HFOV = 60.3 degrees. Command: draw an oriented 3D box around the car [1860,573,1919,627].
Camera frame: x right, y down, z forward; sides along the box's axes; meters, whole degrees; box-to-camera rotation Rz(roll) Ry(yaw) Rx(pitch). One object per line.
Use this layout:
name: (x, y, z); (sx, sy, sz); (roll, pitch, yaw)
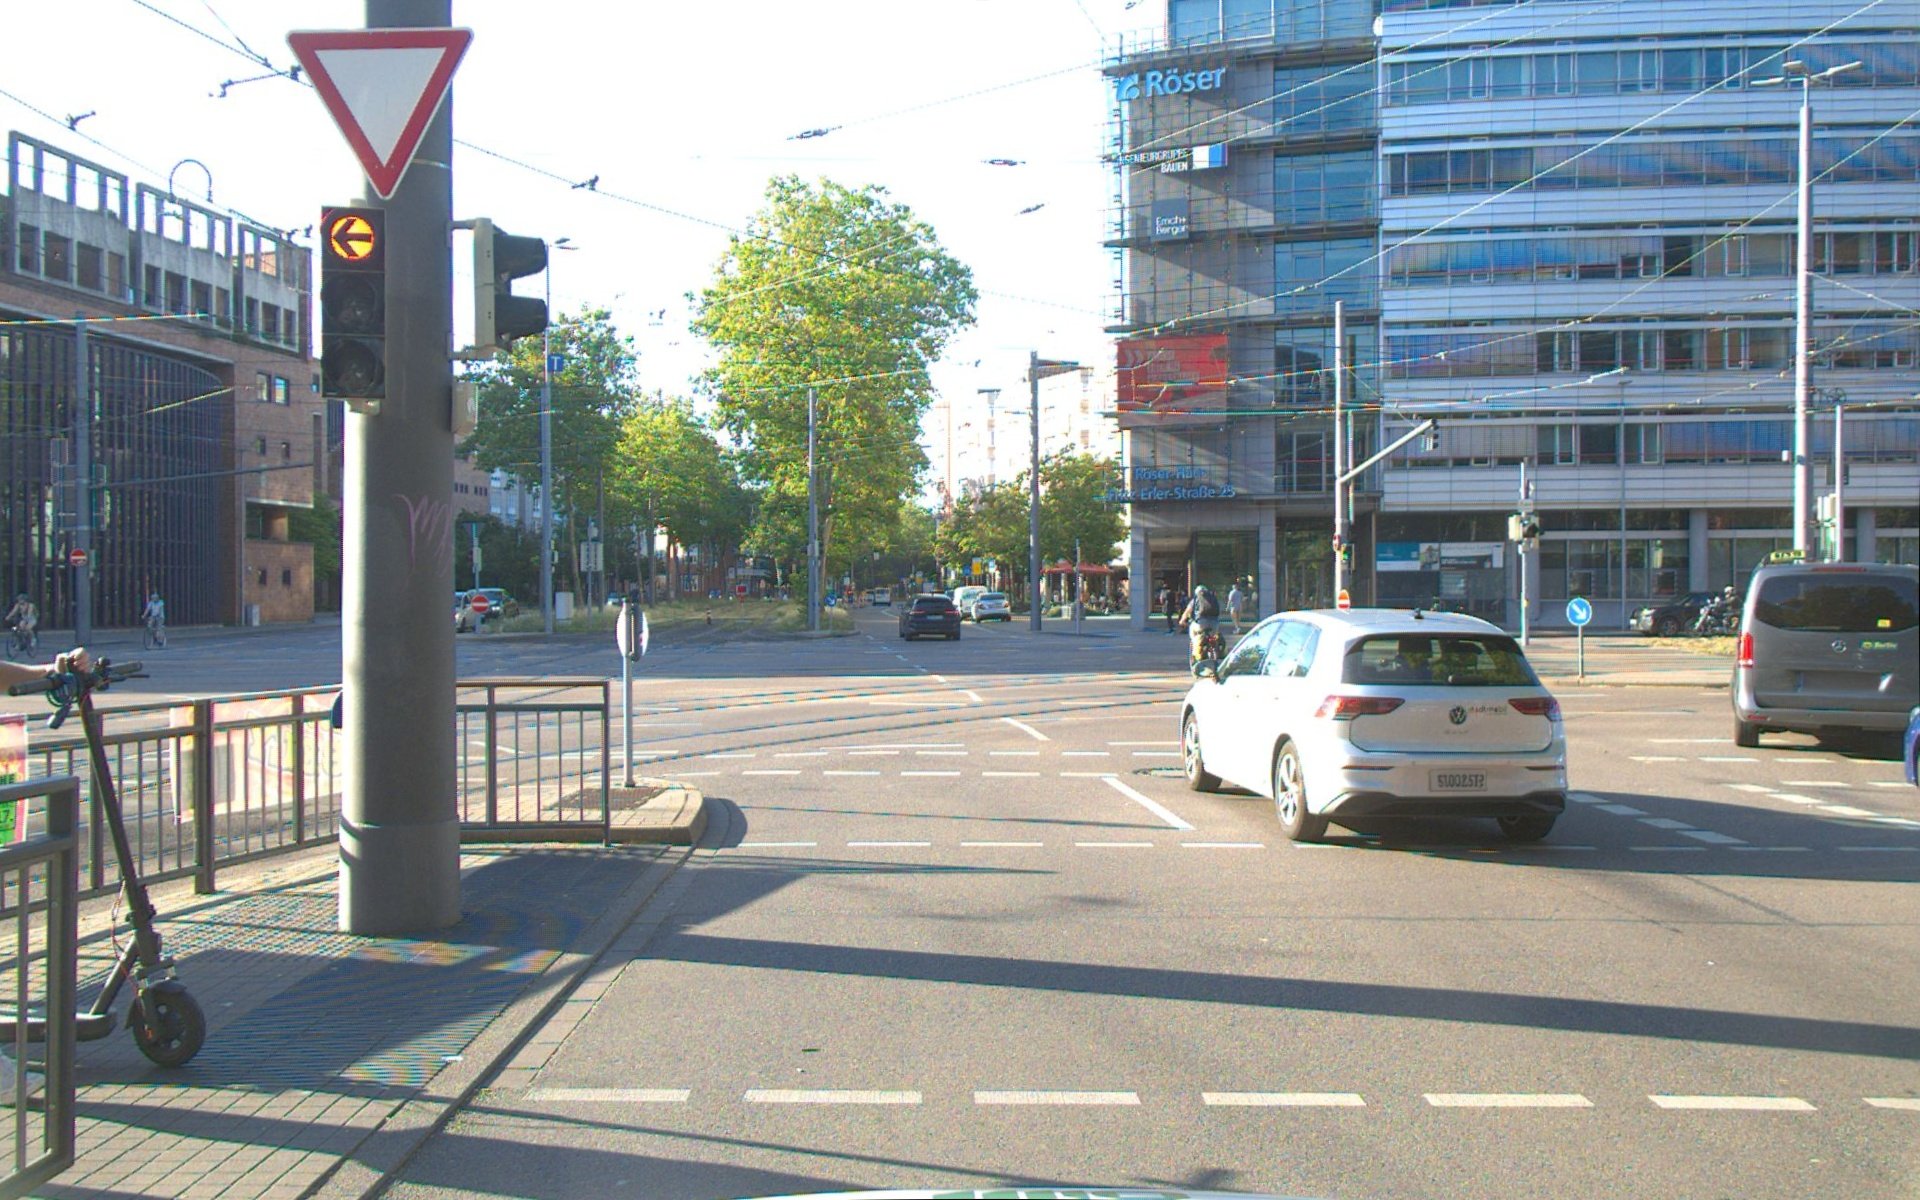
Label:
car: (29.435, 0.022, 49.596); (3.903, 1.579, 1.798); (1, 0, 4)

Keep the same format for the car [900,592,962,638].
car: (-0.964, 0.455, 53.219); (1.729, 1.429, 4.292); (0, 0, -5)

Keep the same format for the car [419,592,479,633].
car: (-20.634, 0.480, 66.933); (1.591, 1.604, 3.994); (-1, 0, -7)

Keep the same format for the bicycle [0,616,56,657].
bicycle: (-25.300, 0.984, 44.844); (0.639, 1.068, 2.010); (0, 0, -6)

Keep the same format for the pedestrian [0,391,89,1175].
pedestrian: (-2.930, 0.454, 4.009); (1.143, 1.917, 0.854); (-1, 0, 4)

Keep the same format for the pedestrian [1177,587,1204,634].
pedestrian: (8.610, 0.377, 61.764); (0.852, 1.737, 0.793); (1, -1, -1)

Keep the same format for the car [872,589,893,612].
car: (-8.137, 0.031, 174.022); (1.952, 2.049, 3.999); (1, -5, 0)

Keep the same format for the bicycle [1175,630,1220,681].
bicycle: (4.092, 0.944, 28.563); (0.481, 0.802, 1.861); (1, 0, -1)

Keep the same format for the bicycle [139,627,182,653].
bicycle: (-25.615, 1.274, 53.013); (0.578, 0.784, 1.966); (-1, 0, -5)

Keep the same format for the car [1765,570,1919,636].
car: (24.896, 0.066, 45.942); (4.165, 1.753, 1.885); (-1, 0, 2)

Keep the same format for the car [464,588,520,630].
car: (-21.007, 0.393, 74.383); (1.787, 1.821, 3.994); (-1, 0, -7)

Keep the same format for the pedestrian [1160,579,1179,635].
pedestrian: (7.658, 0.252, 60.364); (0.574, 2.049, 0.620); (1, -1, 0)

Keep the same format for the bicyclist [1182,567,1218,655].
bicyclist: (4.105, 0.182, 28.316); (0.477, 1.464, 0.615); (2, 1, -1)

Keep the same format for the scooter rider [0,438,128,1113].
scooter rider: (-2.942, 0.498, 4.922); (0.554, 1.885, 0.680); (-1, -2, 4)

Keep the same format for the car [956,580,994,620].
car: (0.802, 0.005, 89.578); (1.953, 2.049, 3.999); (1, 0, -1)

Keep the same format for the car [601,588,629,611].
car: (-25.481, -0.057, 122.229); (1.644, 1.635, 3.994); (1, 0, -7)

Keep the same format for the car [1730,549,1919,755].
car: (9.491, 0.465, 17.990); (1.961, 1.929, 4.878); (0, 1, 26)

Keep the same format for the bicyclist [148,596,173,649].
bicyclist: (-25.616, 0.715, 52.992); (0.575, 1.654, 0.514); (-1, 0, -6)

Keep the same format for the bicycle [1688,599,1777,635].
bicycle: (23.233, 0.500, 49.749); (2.359, 1.040, 0.637); (-1, 0, 4)

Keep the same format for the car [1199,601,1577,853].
car: (2.807, 0.749, 11.734); (1.712, 1.443, 4.001); (0, 0, 1)

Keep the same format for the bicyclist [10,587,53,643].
bicyclist: (-25.332, 0.404, 45.127); (0.640, 1.500, 1.031); (0, 0, -6)

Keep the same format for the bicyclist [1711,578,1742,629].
bicyclist: (23.054, 0.098, 49.754); (0.649, 1.529, 0.613); (-1, 0, 4)

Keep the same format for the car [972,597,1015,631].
car: (1.637, 0.682, 82.769); (1.988, 1.624, 3.999); (1, 0, -1)

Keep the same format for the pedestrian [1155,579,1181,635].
pedestrian: (7.717, 0.256, 61.330); (0.832, 2.049, 0.707); (1, -1, -2)

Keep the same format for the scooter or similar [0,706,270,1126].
scooter or similar: (-2.764, 0.889, 4.865); (1.177, 1.100, 0.648); (-1, 0, 3)

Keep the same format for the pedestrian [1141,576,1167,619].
pedestrian: (10.236, -0.129, 87.372); (1.285, 2.228, 1.171); (1, -1, 5)

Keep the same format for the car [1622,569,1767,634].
car: (24.366, 0.044, 54.957); (3.906, 2.049, 2.000); (1, 0, -1)

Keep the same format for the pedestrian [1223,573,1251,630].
pedestrian: (10.183, 0.052, 60.754); (0.852, 2.049, 0.793); (1, -1, -1)

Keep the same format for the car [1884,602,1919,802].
car: (7.970, 0.774, 10.680); (1.712, 1.485, 4.213); (0, 0, 1)
